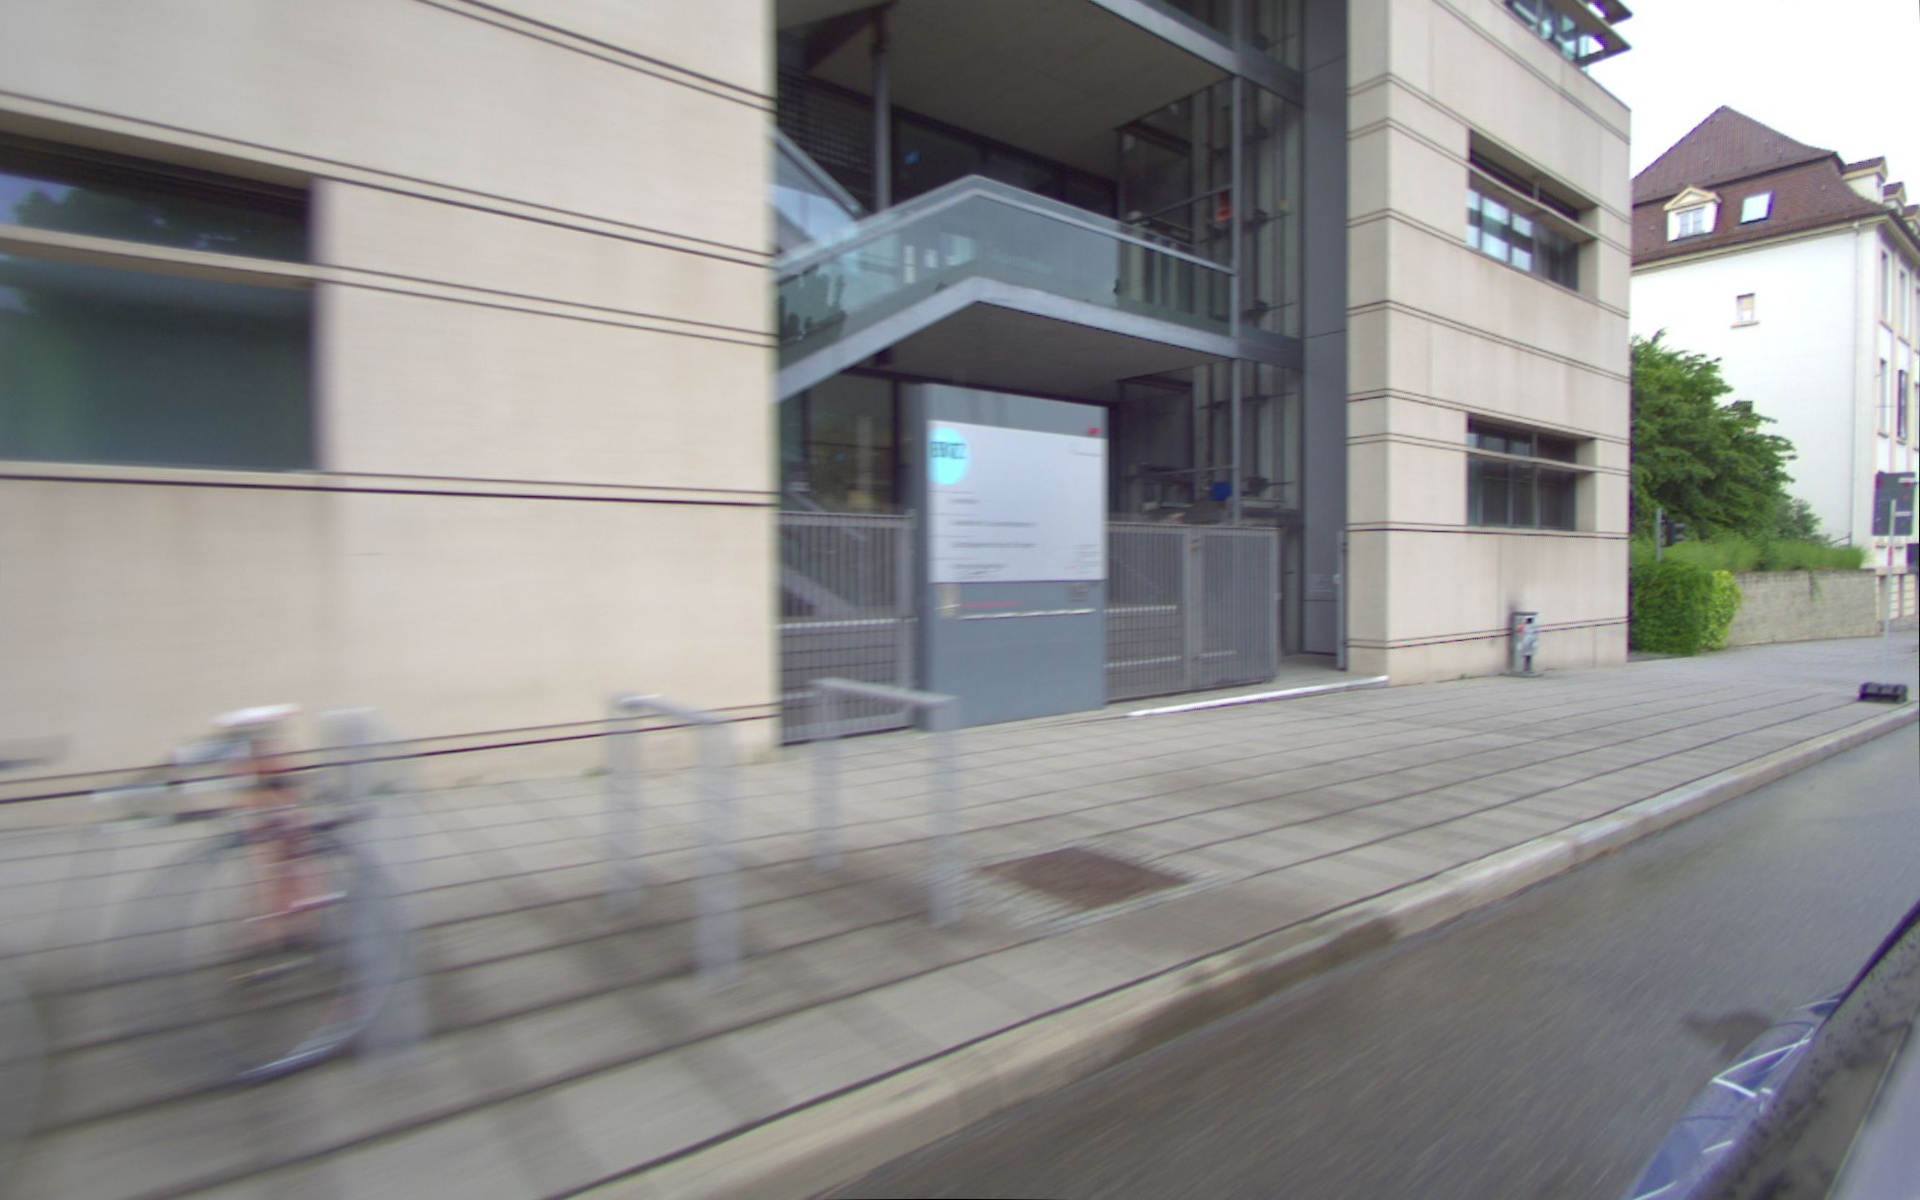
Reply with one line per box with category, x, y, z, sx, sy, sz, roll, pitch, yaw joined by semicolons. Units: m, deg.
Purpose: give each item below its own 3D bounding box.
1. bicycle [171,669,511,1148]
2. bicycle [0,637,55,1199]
bicycle;-2.074;0.791;3.272;0.648;0.965;1.761;-1;2;-41
bicycle;-2.600;0.709;2.383;0.649;1.133;1.731;-1;2;-43
